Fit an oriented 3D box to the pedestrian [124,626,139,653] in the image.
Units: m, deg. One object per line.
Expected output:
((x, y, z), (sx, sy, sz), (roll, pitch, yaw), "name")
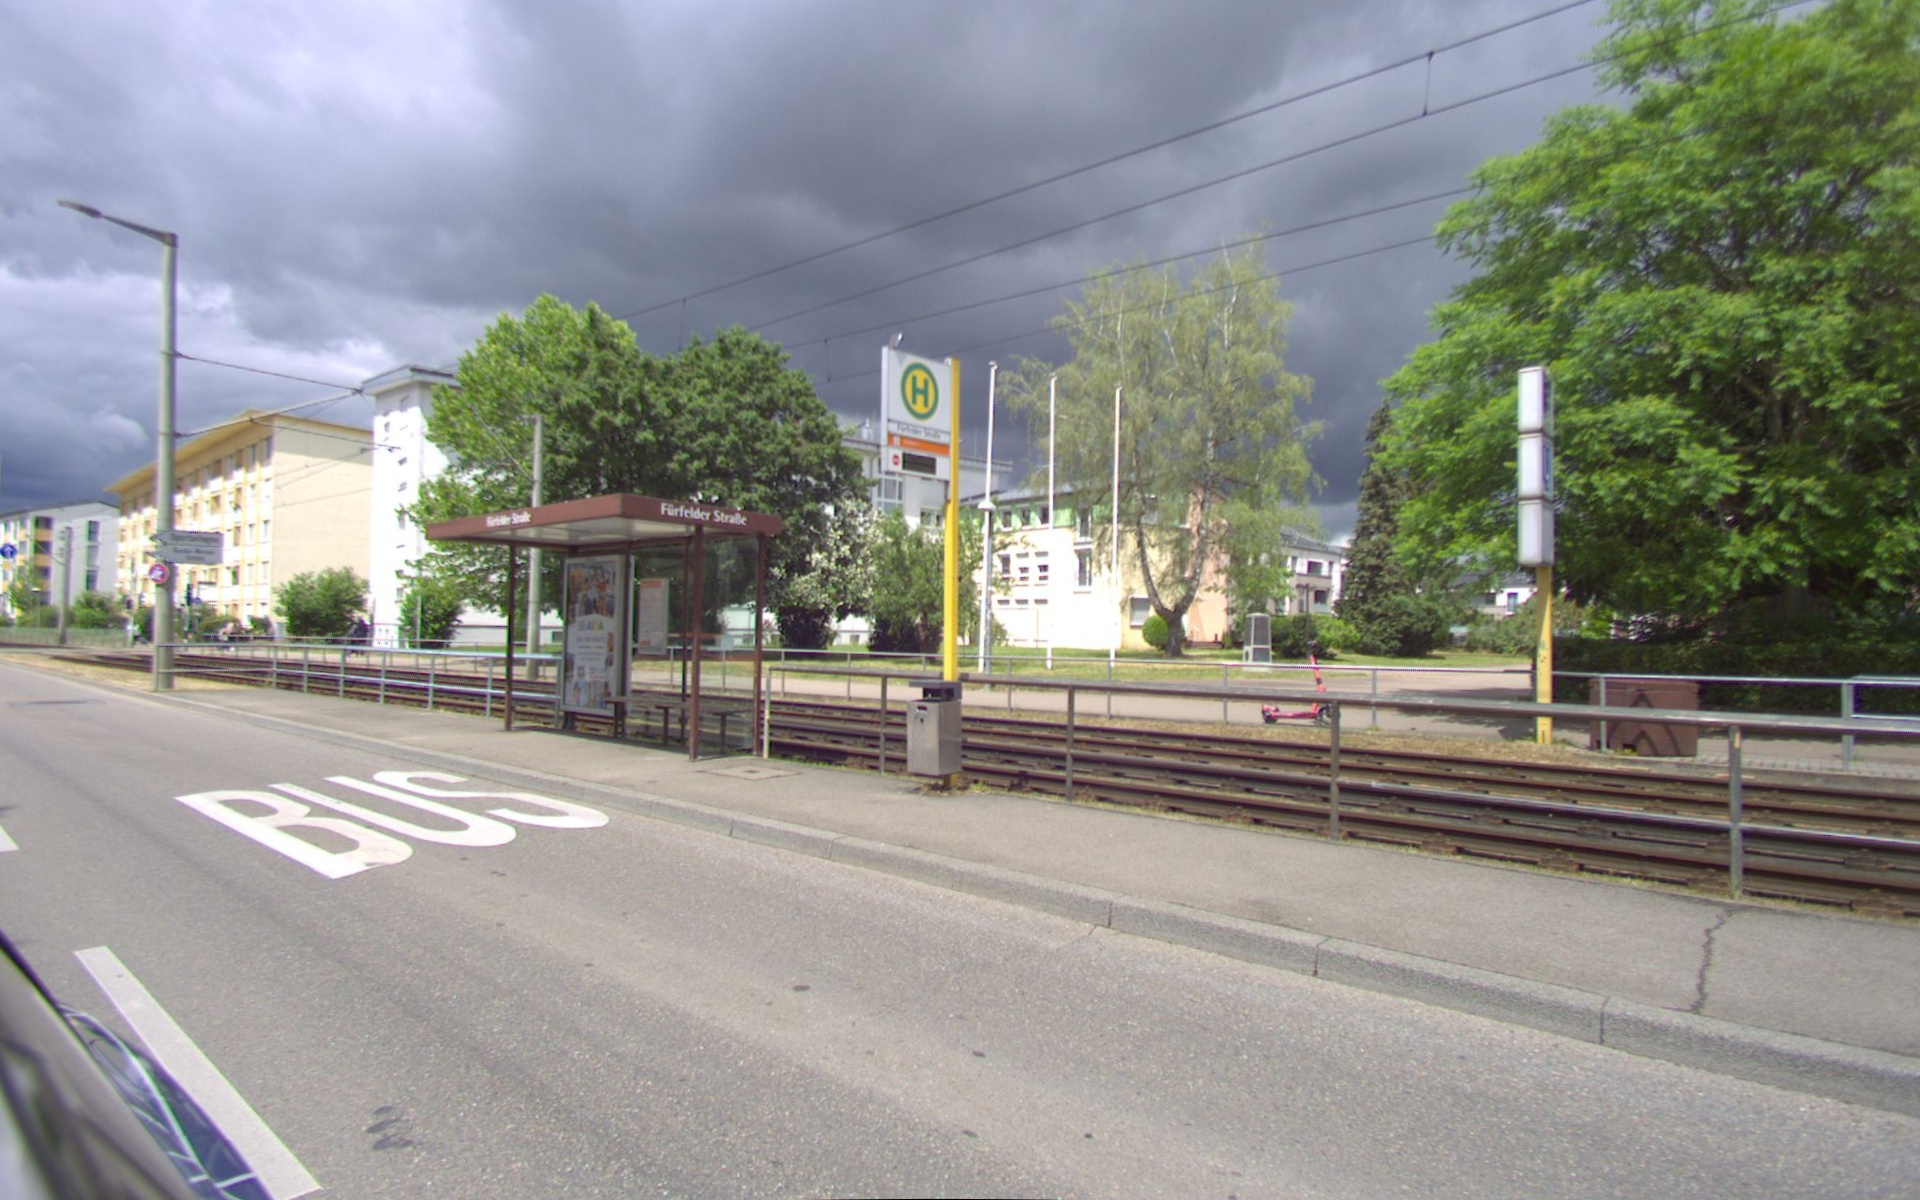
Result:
((-50.534, 2.394, 61.718), (0.773, 1.619, 0.598), (-1, -1, 39), "pedestrian")

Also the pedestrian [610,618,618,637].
((-17.329, 1.382, 50.658), (0.325, 0.889, 0.256), (0, 4, -39), "pedestrian")

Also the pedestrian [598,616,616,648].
((-17.921, 1.606, 51.402), (0.675, 1.553, 0.515), (0, 4, -43), "pedestrian")

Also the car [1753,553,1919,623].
((28.006, -0.303, 32.177), (1.967, 2.029, 4.009), (2, -2, -36), "car")

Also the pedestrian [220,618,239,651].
((-38.049, 1.799, 52.734), (0.679, 1.705, 0.638), (-1, -2, 41), "pedestrian")

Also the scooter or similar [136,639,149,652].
((-50.278, 2.819, 62.230), (0.665, 0.779, 0.527), (-1, -1, 39), "scooter or similar")

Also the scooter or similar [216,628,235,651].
((-38.655, 2.082, 53.245), (0.891, 1.172, 0.602), (-1, -2, 41), "scooter or similar")

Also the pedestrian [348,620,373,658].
((-24.901, 1.625, 42.043), (0.873, 1.552, 0.606), (-1, -2, 39), "pedestrian")

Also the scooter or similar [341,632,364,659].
((-25.558, 1.894, 42.585), (0.820, 1.123, 0.598), (-1, -2, 39), "scooter or similar")

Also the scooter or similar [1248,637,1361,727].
((5.032, 1.172, 14.836), (1.400, 1.246, 0.642), (-2, -2, 42), "scooter or similar")
